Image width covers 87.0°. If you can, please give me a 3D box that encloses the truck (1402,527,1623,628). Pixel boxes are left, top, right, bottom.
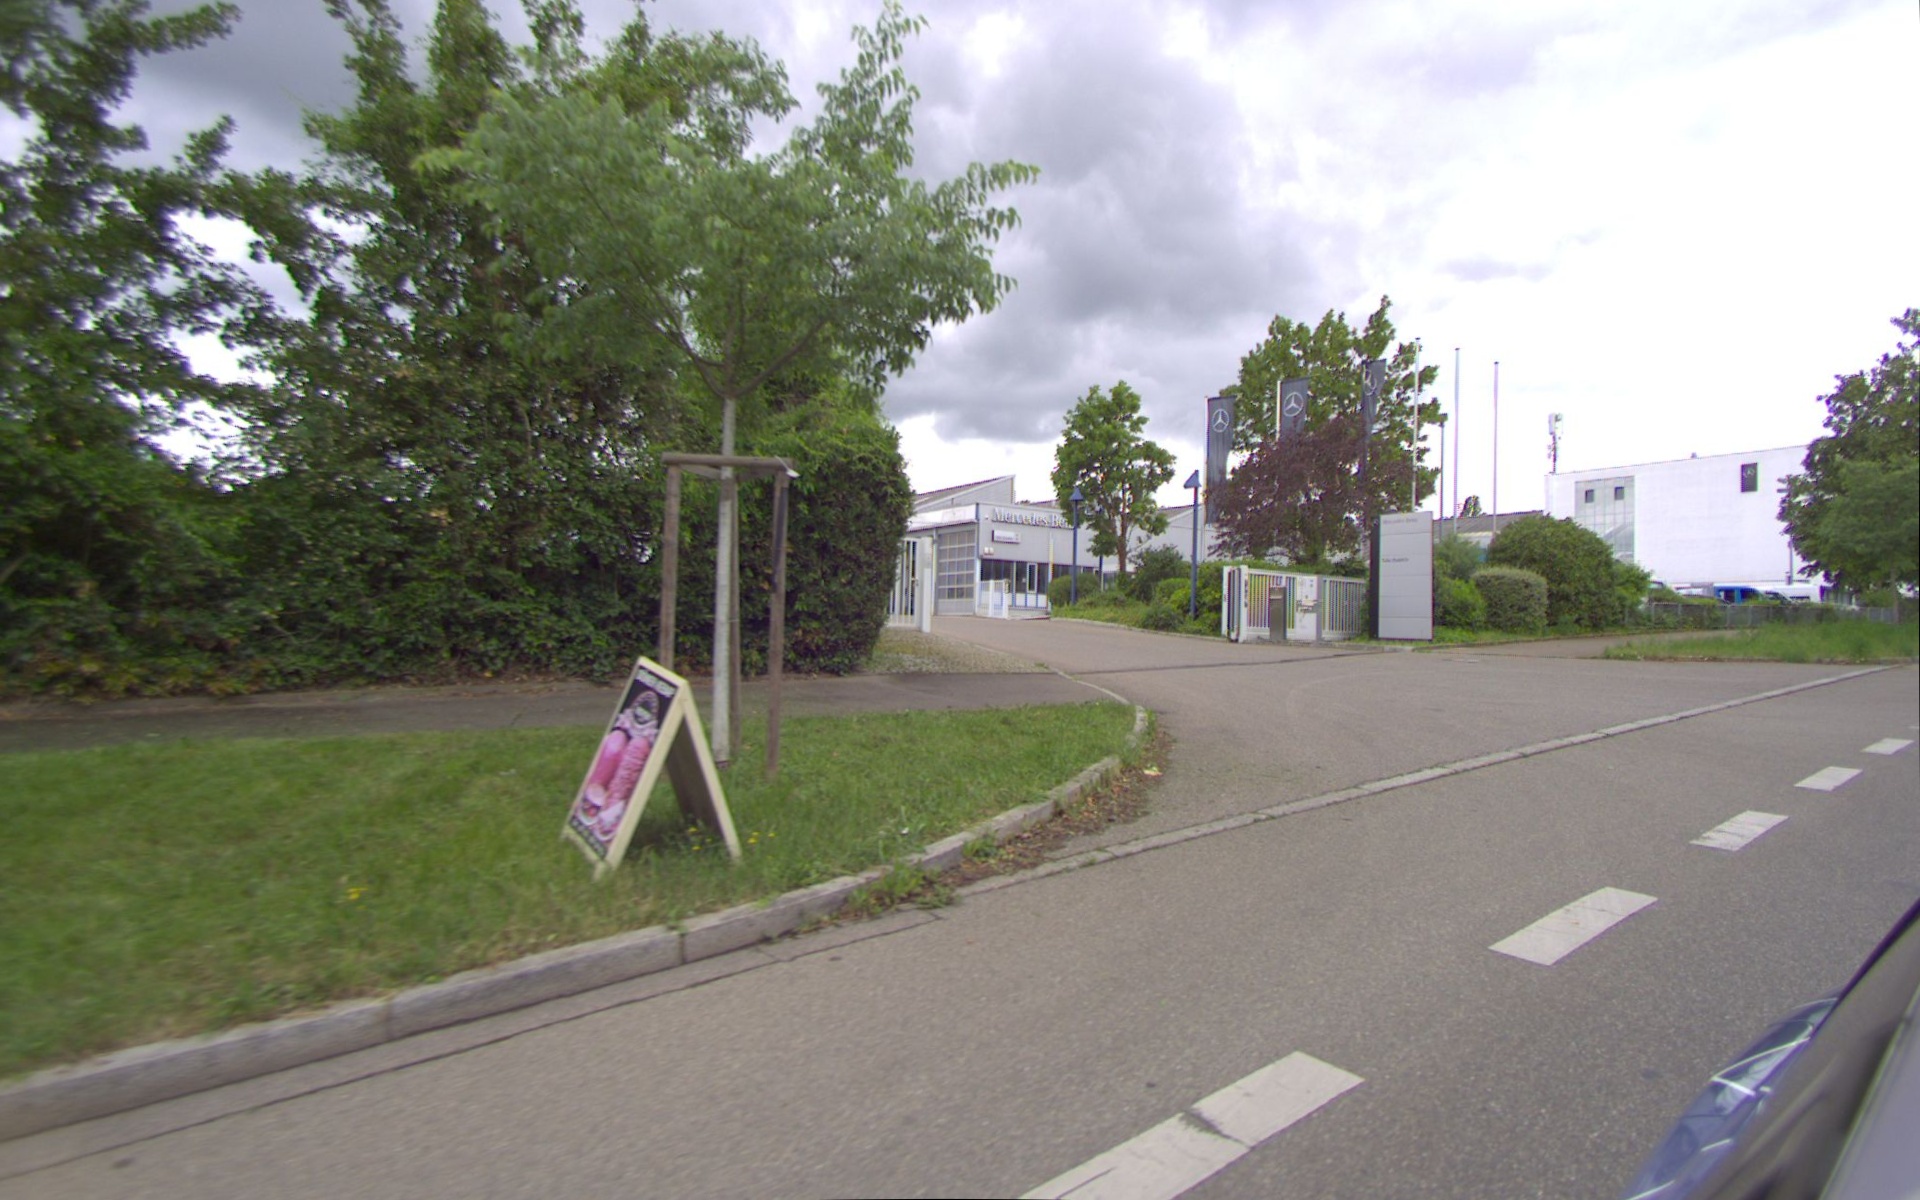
[{"bbox_3d":[20.730,-0.813,38.281,7.129,3.521,2.590,1,0,31],"label":"truck"}]

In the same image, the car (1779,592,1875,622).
[{"bbox_3d":[60.305,0.497,70.469,4.511,2.060,2.061,-1,-1,16],"label":"car"}]

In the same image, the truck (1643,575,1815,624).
[{"bbox_3d":[36.665,0.010,48.529,6.194,2.241,2.225,-1,-1,28],"label":"truck"}]

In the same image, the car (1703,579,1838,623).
[{"bbox_3d":[42.423,0.060,53.153,5.217,2.216,2.049,-1,-1,31],"label":"car"}]

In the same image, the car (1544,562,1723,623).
[{"bbox_3d":[27.705,-0.250,41.925,5.983,2.397,2.335,-1,-1,32],"label":"car"}]

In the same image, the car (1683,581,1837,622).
[{"bbox_3d":[39.674,0.111,50.425,5.785,1.982,2.047,-1,-1,34],"label":"car"}]
